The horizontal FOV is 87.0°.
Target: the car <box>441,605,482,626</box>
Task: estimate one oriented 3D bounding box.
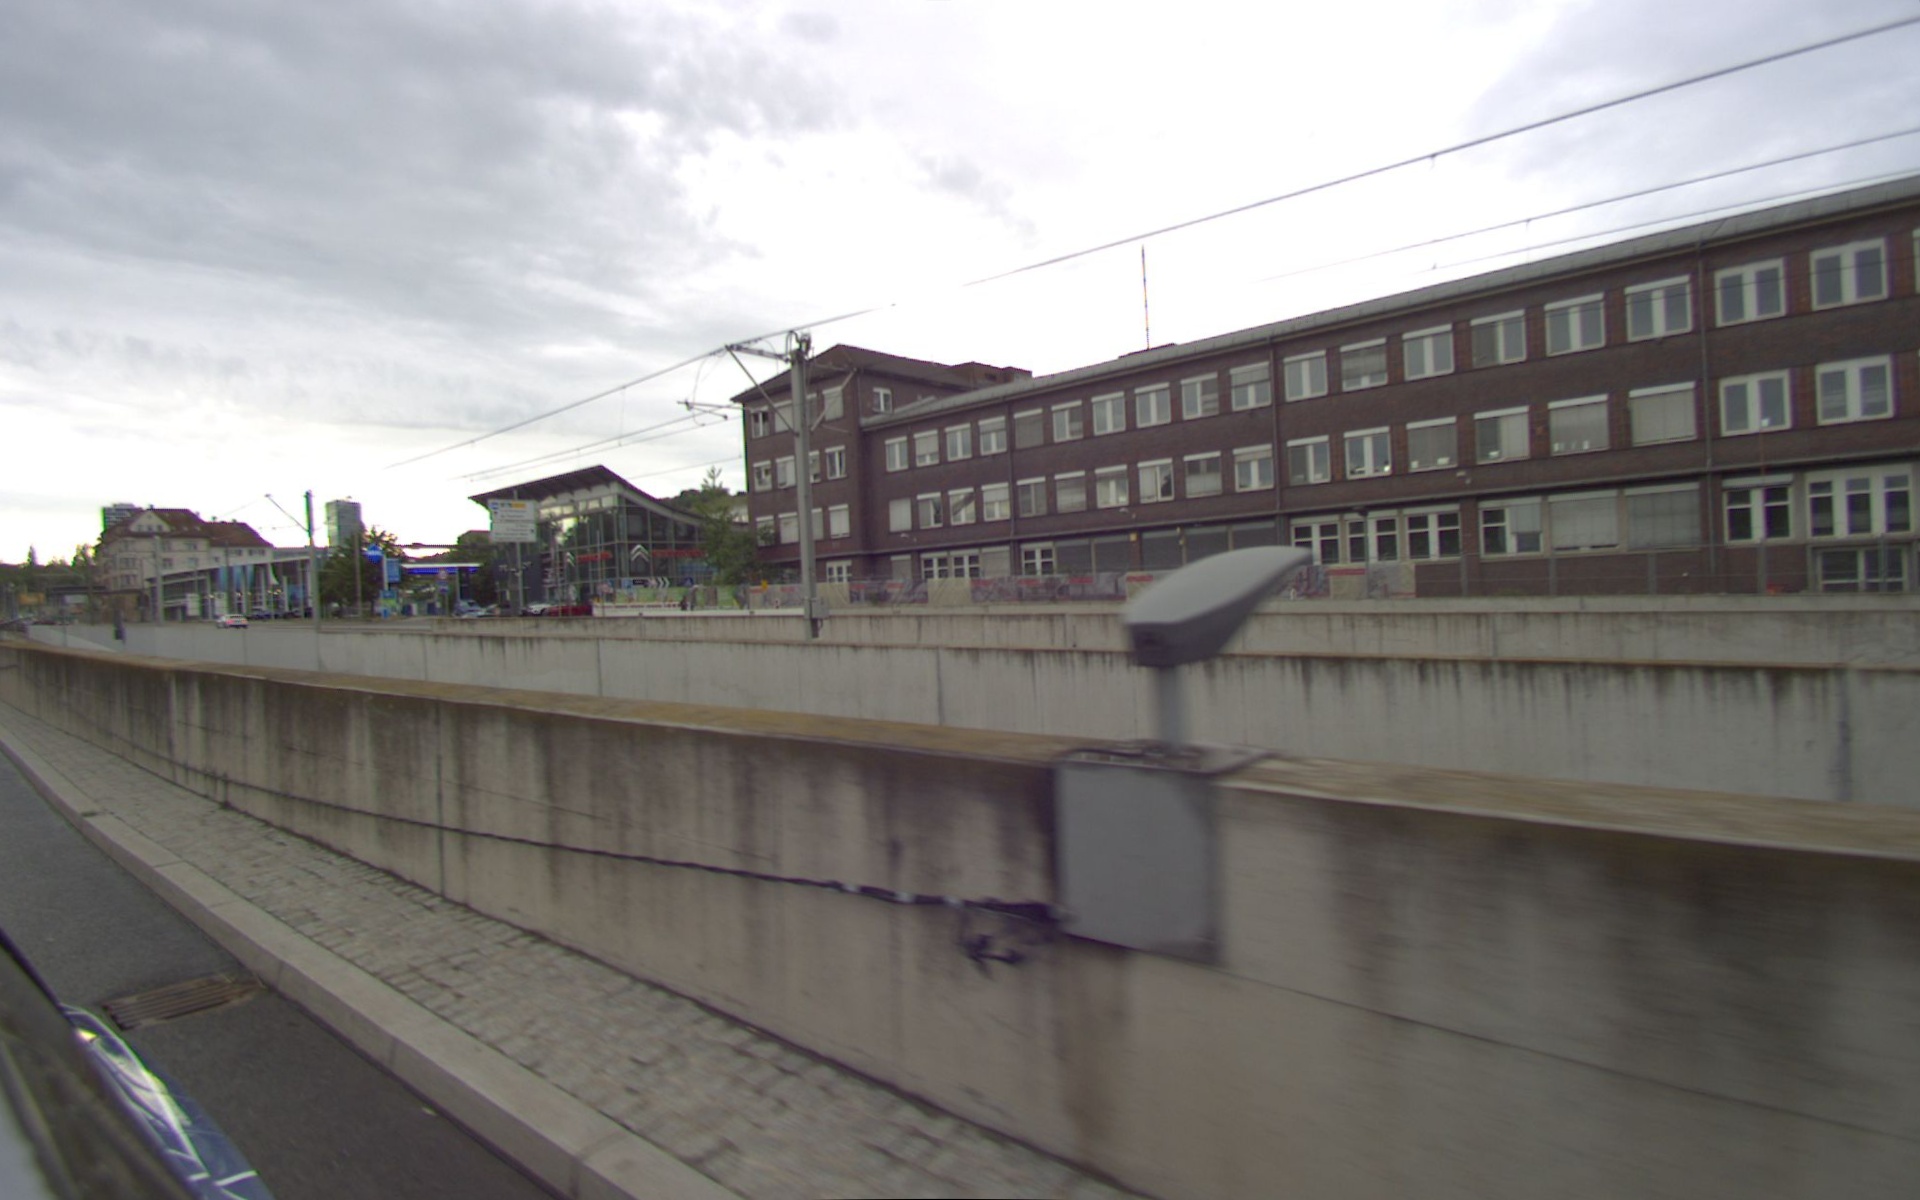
[{"bbox_3d":[-46.609,1.465,94.558,3.998,1.785,1.973,-2,0,41],"label":"car"}]

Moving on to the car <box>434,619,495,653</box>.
[{"bbox_3d":[-31.348,2.264,63.960,3.996,2.029,1.974,-2,-1,39],"label":"car"}]

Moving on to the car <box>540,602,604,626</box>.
[{"bbox_3d":[-32.190,1.132,84.097,1.999,1.773,4.517,-2,0,42],"label":"car"}]

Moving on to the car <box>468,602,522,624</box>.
[{"bbox_3d":[-42.351,1.160,92.159,2.000,1.785,3.944,-2,0,42],"label":"car"}]

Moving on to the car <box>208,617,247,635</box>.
[{"bbox_3d":[-73.142,2.609,100.993,4.576,1.729,2.092,-2,0,40],"label":"car"}]

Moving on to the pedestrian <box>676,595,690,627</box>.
[{"bbox_3d":[-18.034,0.723,65.928,0.720,2.029,0.579,-1,0,5],"label":"pedestrian"}]

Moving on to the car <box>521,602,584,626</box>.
[{"bbox_3d":[-34.355,1.181,85.371,1.999,1.773,4.517,-2,0,42],"label":"car"}]

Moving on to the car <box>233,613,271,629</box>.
[{"bbox_3d":[-97.259,2.817,139.002,2.000,2.029,3.943,-2,0,43],"label":"car"}]
